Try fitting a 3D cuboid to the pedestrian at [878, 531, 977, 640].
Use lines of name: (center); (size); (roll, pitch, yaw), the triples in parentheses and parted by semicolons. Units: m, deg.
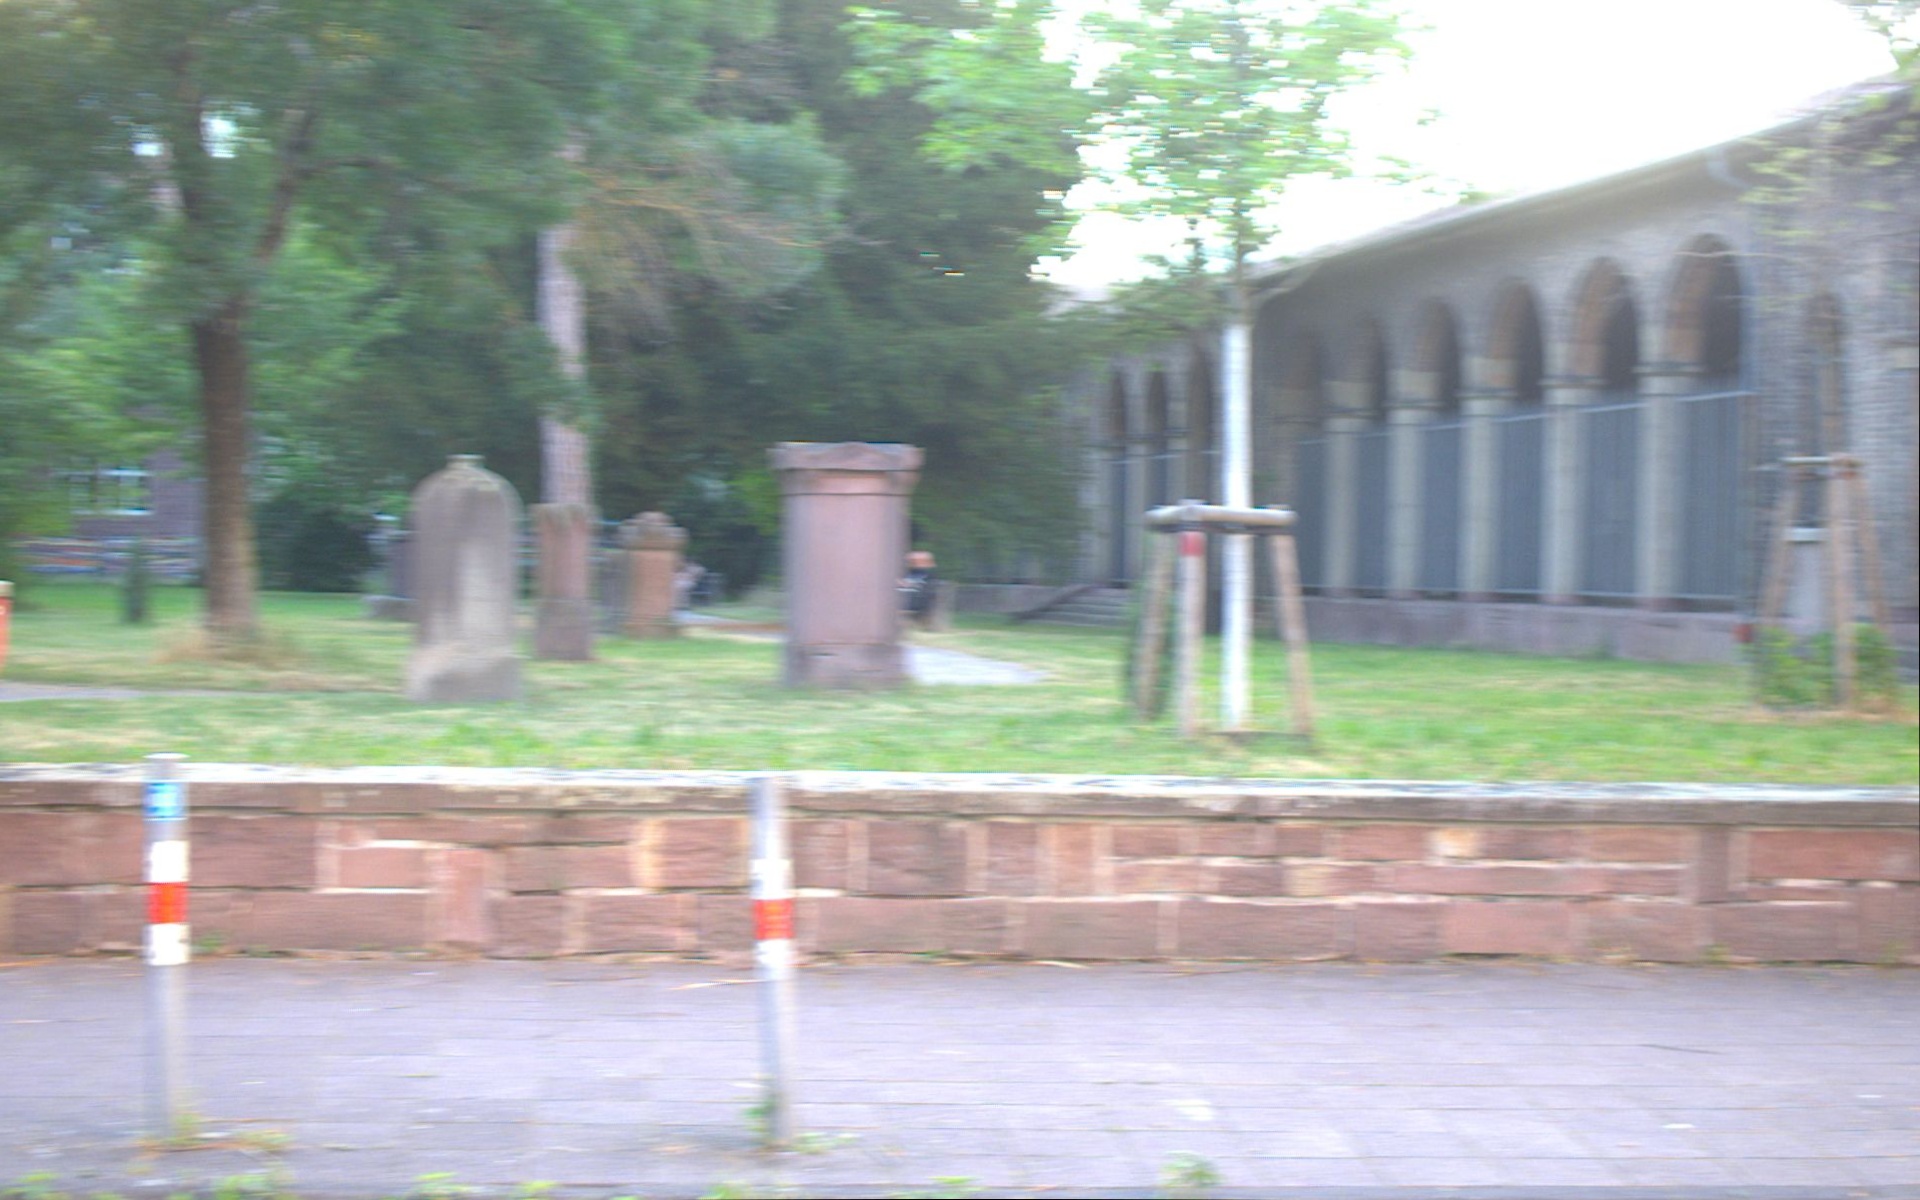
pedestrian: (-0.418, -0.198, 45.447); (1.277, 1.421, 1.237); (0, 0, 1)
